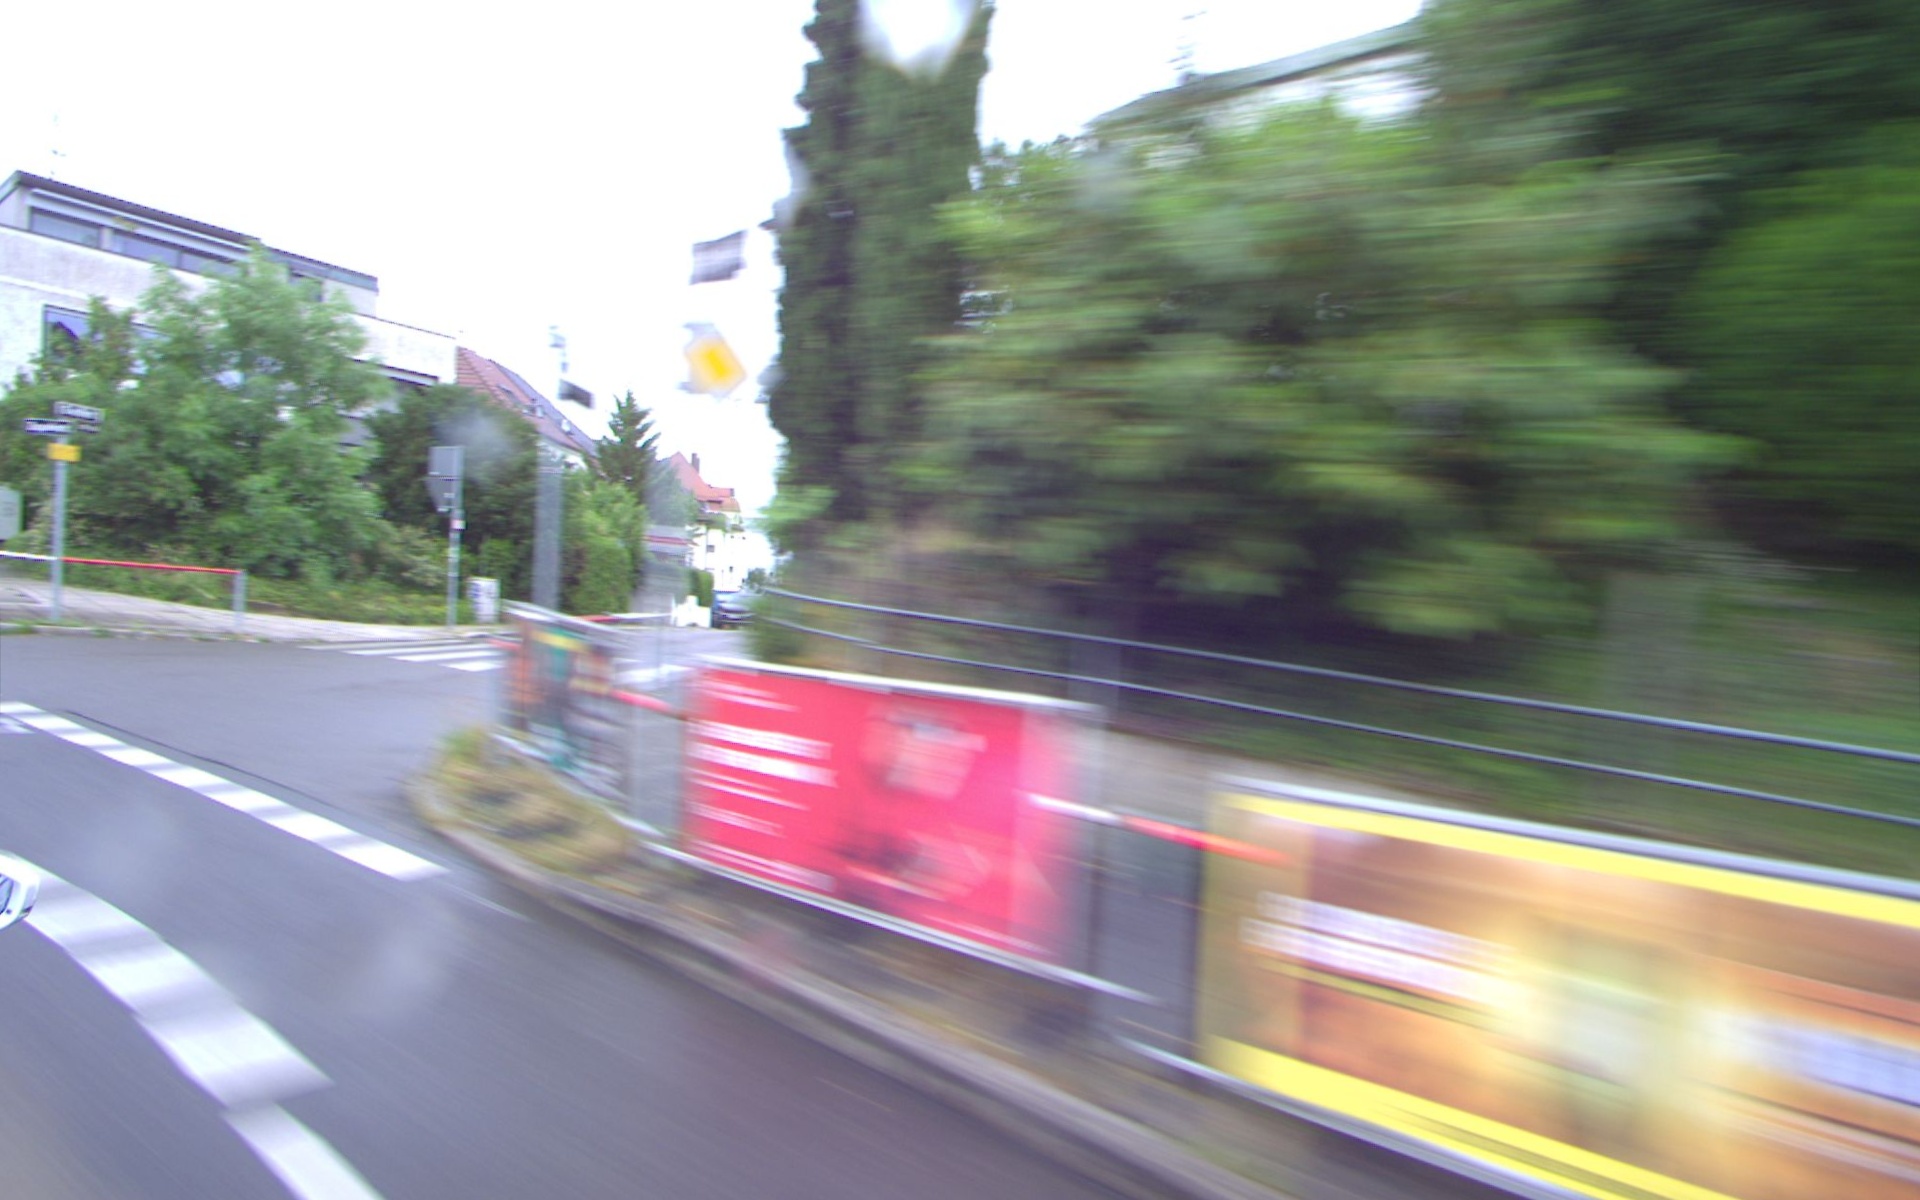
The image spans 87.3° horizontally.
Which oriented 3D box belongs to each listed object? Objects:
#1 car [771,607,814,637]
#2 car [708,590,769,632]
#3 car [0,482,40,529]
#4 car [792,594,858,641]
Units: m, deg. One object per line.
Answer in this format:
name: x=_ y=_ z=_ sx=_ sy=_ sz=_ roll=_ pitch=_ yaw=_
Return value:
car: x=-9.742 y=1.301 z=58.791 sx=1.963 sy=1.525 sz=4.003 roll=3 pitch=-3 yaw=-3
car: x=-9.831 y=0.532 z=44.905 sx=1.963 sy=1.614 sz=4.003 roll=3 pitch=-3 yaw=-3
car: x=-32.189 y=-3.226 z=32.112 sx=3.967 sy=1.433 sz=1.706 roll=6 pitch=1 yaw=-40
car: x=-4.772 y=0.588 z=36.108 sx=1.831 sy=1.452 sz=3.998 roll=5 pitch=0 yaw=-1
